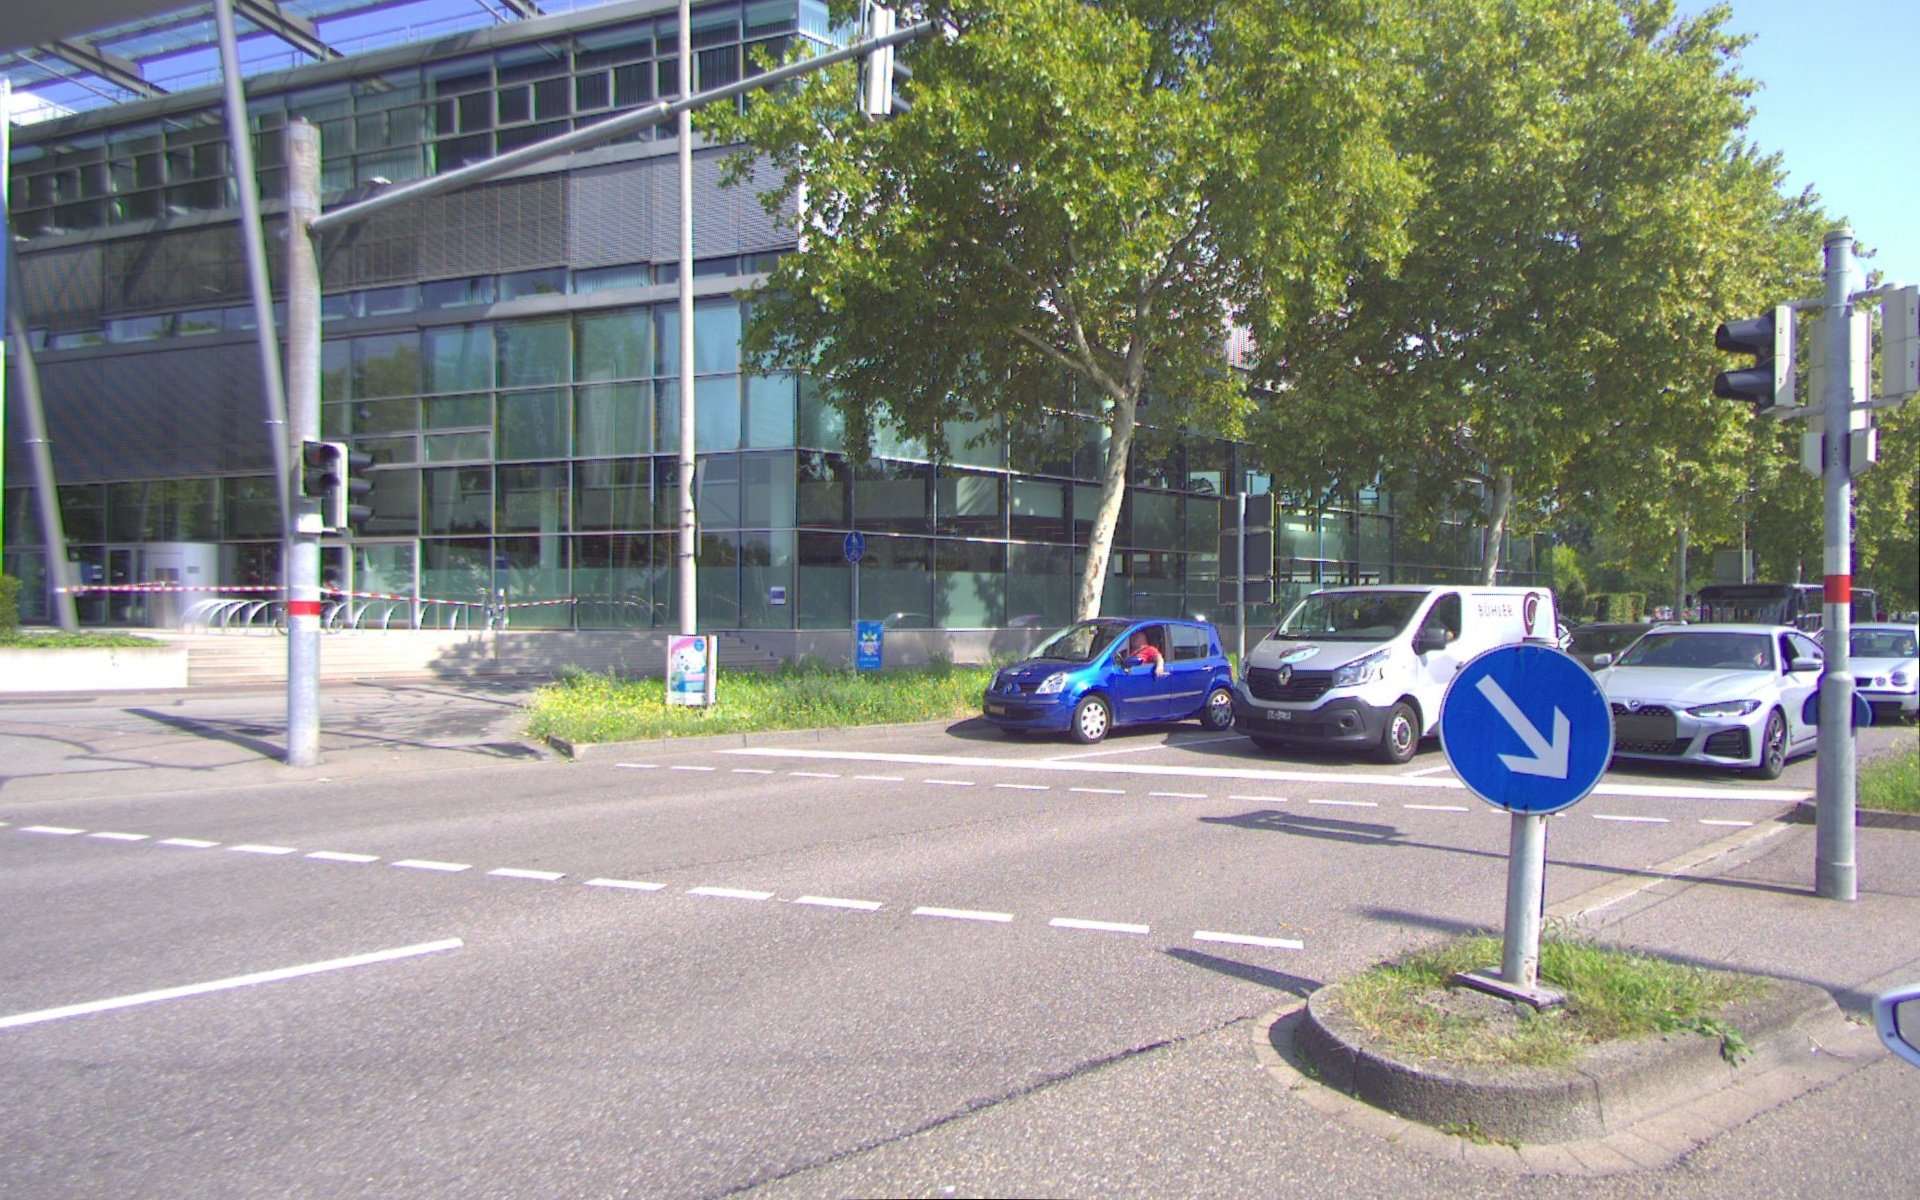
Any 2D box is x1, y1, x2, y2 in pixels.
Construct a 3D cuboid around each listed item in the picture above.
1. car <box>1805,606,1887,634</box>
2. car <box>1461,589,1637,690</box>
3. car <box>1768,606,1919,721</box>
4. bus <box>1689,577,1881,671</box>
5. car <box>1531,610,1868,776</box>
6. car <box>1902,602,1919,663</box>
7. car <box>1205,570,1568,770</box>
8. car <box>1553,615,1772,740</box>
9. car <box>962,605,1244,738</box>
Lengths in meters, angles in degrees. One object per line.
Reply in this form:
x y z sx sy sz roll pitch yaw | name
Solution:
84.699 1.847 96.072 2.258 2.369 5.540 -2 3 -38 | car
12.425 0.830 21.113 3.942 1.920 1.912 1 -3 -39 | car
13.982 0.908 15.499 4.068 1.555 1.601 1 -2 -41 | car
27.759 0.853 33.530 10.808 2.729 2.642 1 -3 -38 | bus
8.194 0.883 10.973 4.566 1.462 1.821 1 -3 -39 | car
33.450 1.036 33.841 5.147 1.986 1.911 0 -2 -41 | car
5.386 0.698 12.311 5.167 1.984 1.912 0 0 -39 | car
12.106 1.243 17.204 4.659 1.873 1.705 1 -3 -37 | car
1.987 0.918 13.572 3.695 1.555 1.656 2 -3 -37 | car
